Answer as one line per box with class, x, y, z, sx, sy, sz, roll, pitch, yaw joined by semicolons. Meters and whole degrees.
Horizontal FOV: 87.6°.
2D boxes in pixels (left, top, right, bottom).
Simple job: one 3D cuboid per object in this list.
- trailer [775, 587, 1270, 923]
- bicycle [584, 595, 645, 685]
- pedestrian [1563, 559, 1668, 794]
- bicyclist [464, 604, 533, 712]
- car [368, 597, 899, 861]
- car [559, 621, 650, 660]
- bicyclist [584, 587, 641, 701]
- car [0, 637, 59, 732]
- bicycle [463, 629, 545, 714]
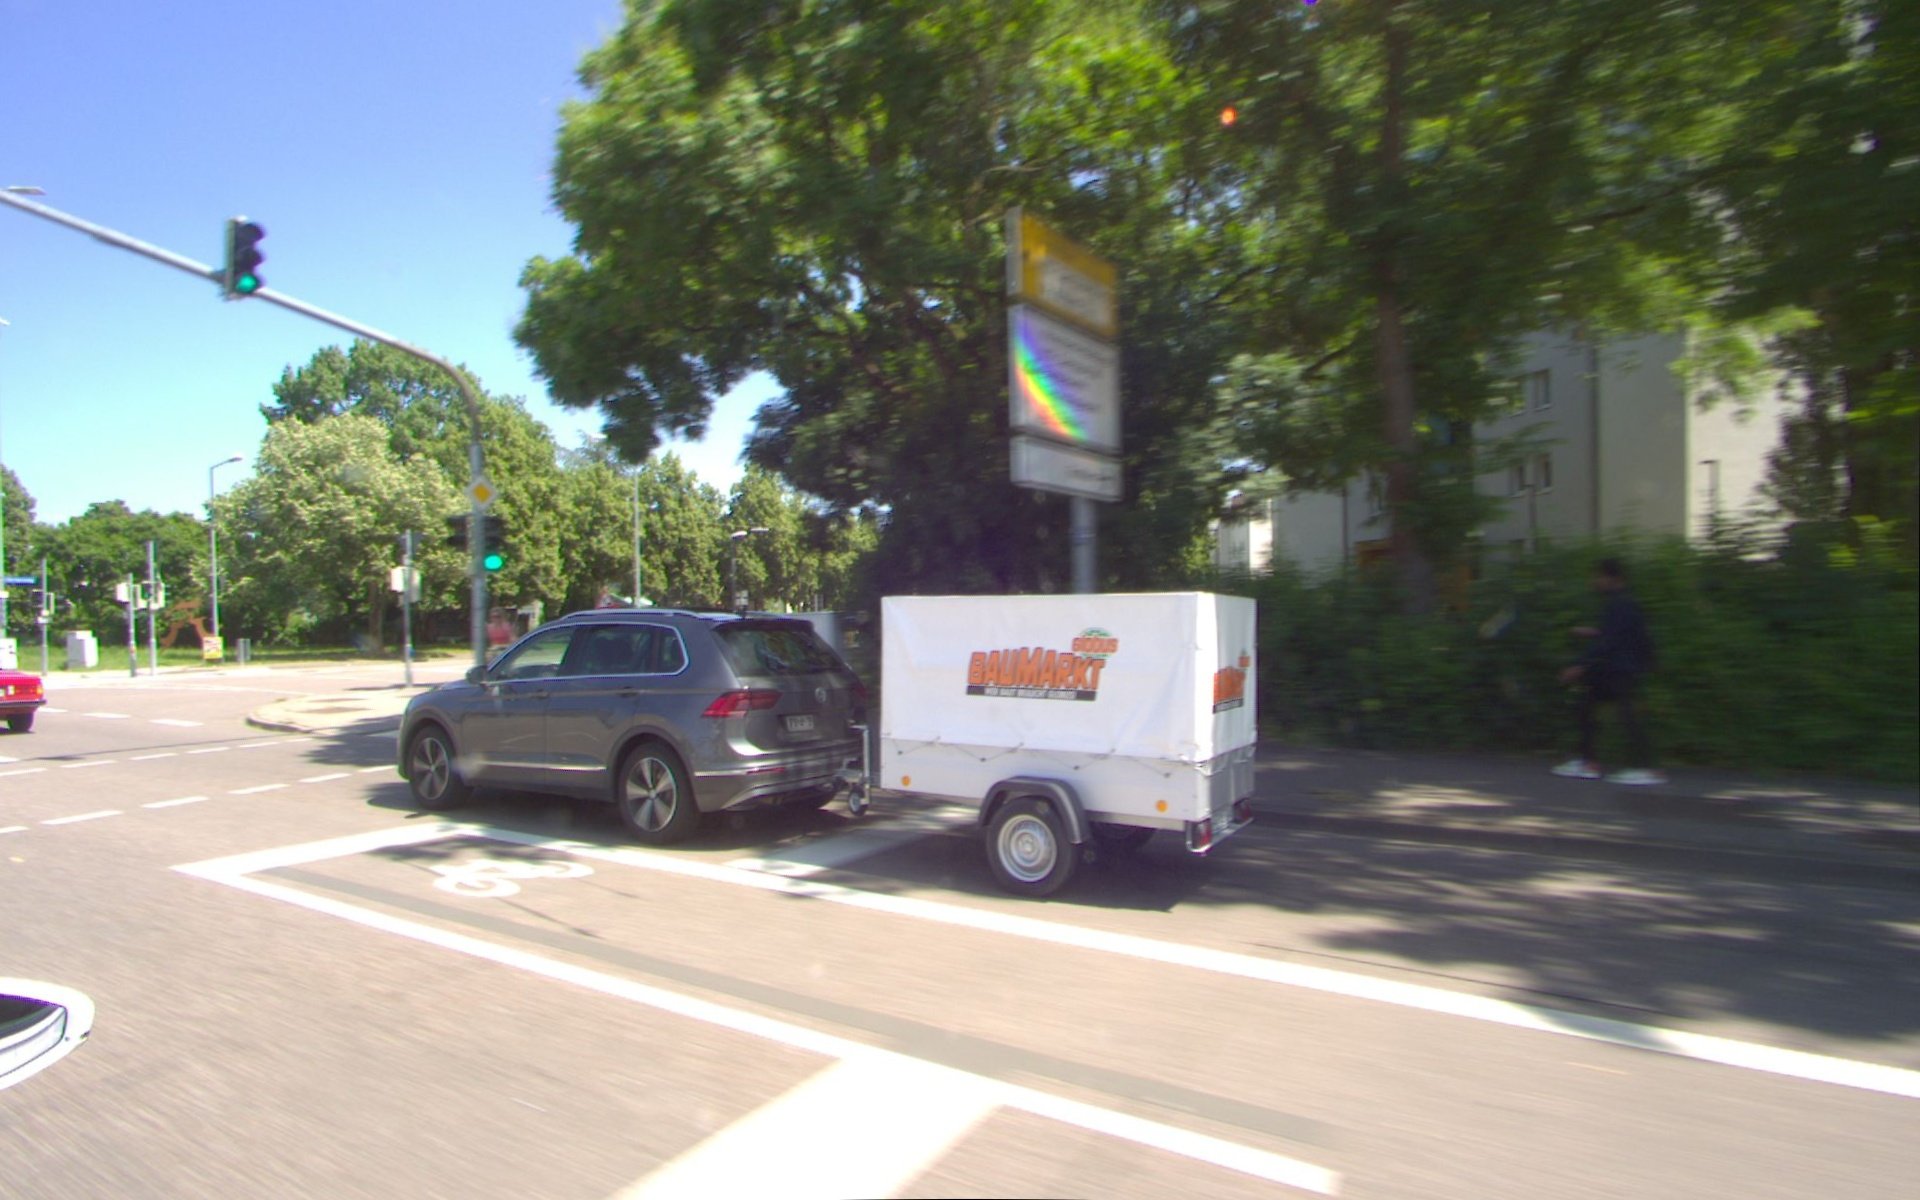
trailer;0.383;0.822;6.394;2.813;1.690;1.467;-1;-2;30
bicycle;-5.439;0.604;15.706;0.715;1.313;1.299;-3;1;-25
pedestrian;5.433;0.603;8.340;0.683;1.840;0.751;0;1;30
bicyclist;-7.834;0.968;17.007;0.671;1.750;0.797;-1;2;42
car;-2.767;0.875;8.195;4.333;1.675;1.698;-1;-2;30
car;-15.267;1.708;43.297;1.961;1.523;4.502;0;-1;6
bicyclist;-5.507;0.683;15.858;0.715;1.726;0.676;-3;2;-25
car;-16.233;1.292;15.915;4.204;1.414;1.653;-1;-2;30
bicycle;-7.724;1.178;16.939;1.608;1.322;0.640;-1;2;43
